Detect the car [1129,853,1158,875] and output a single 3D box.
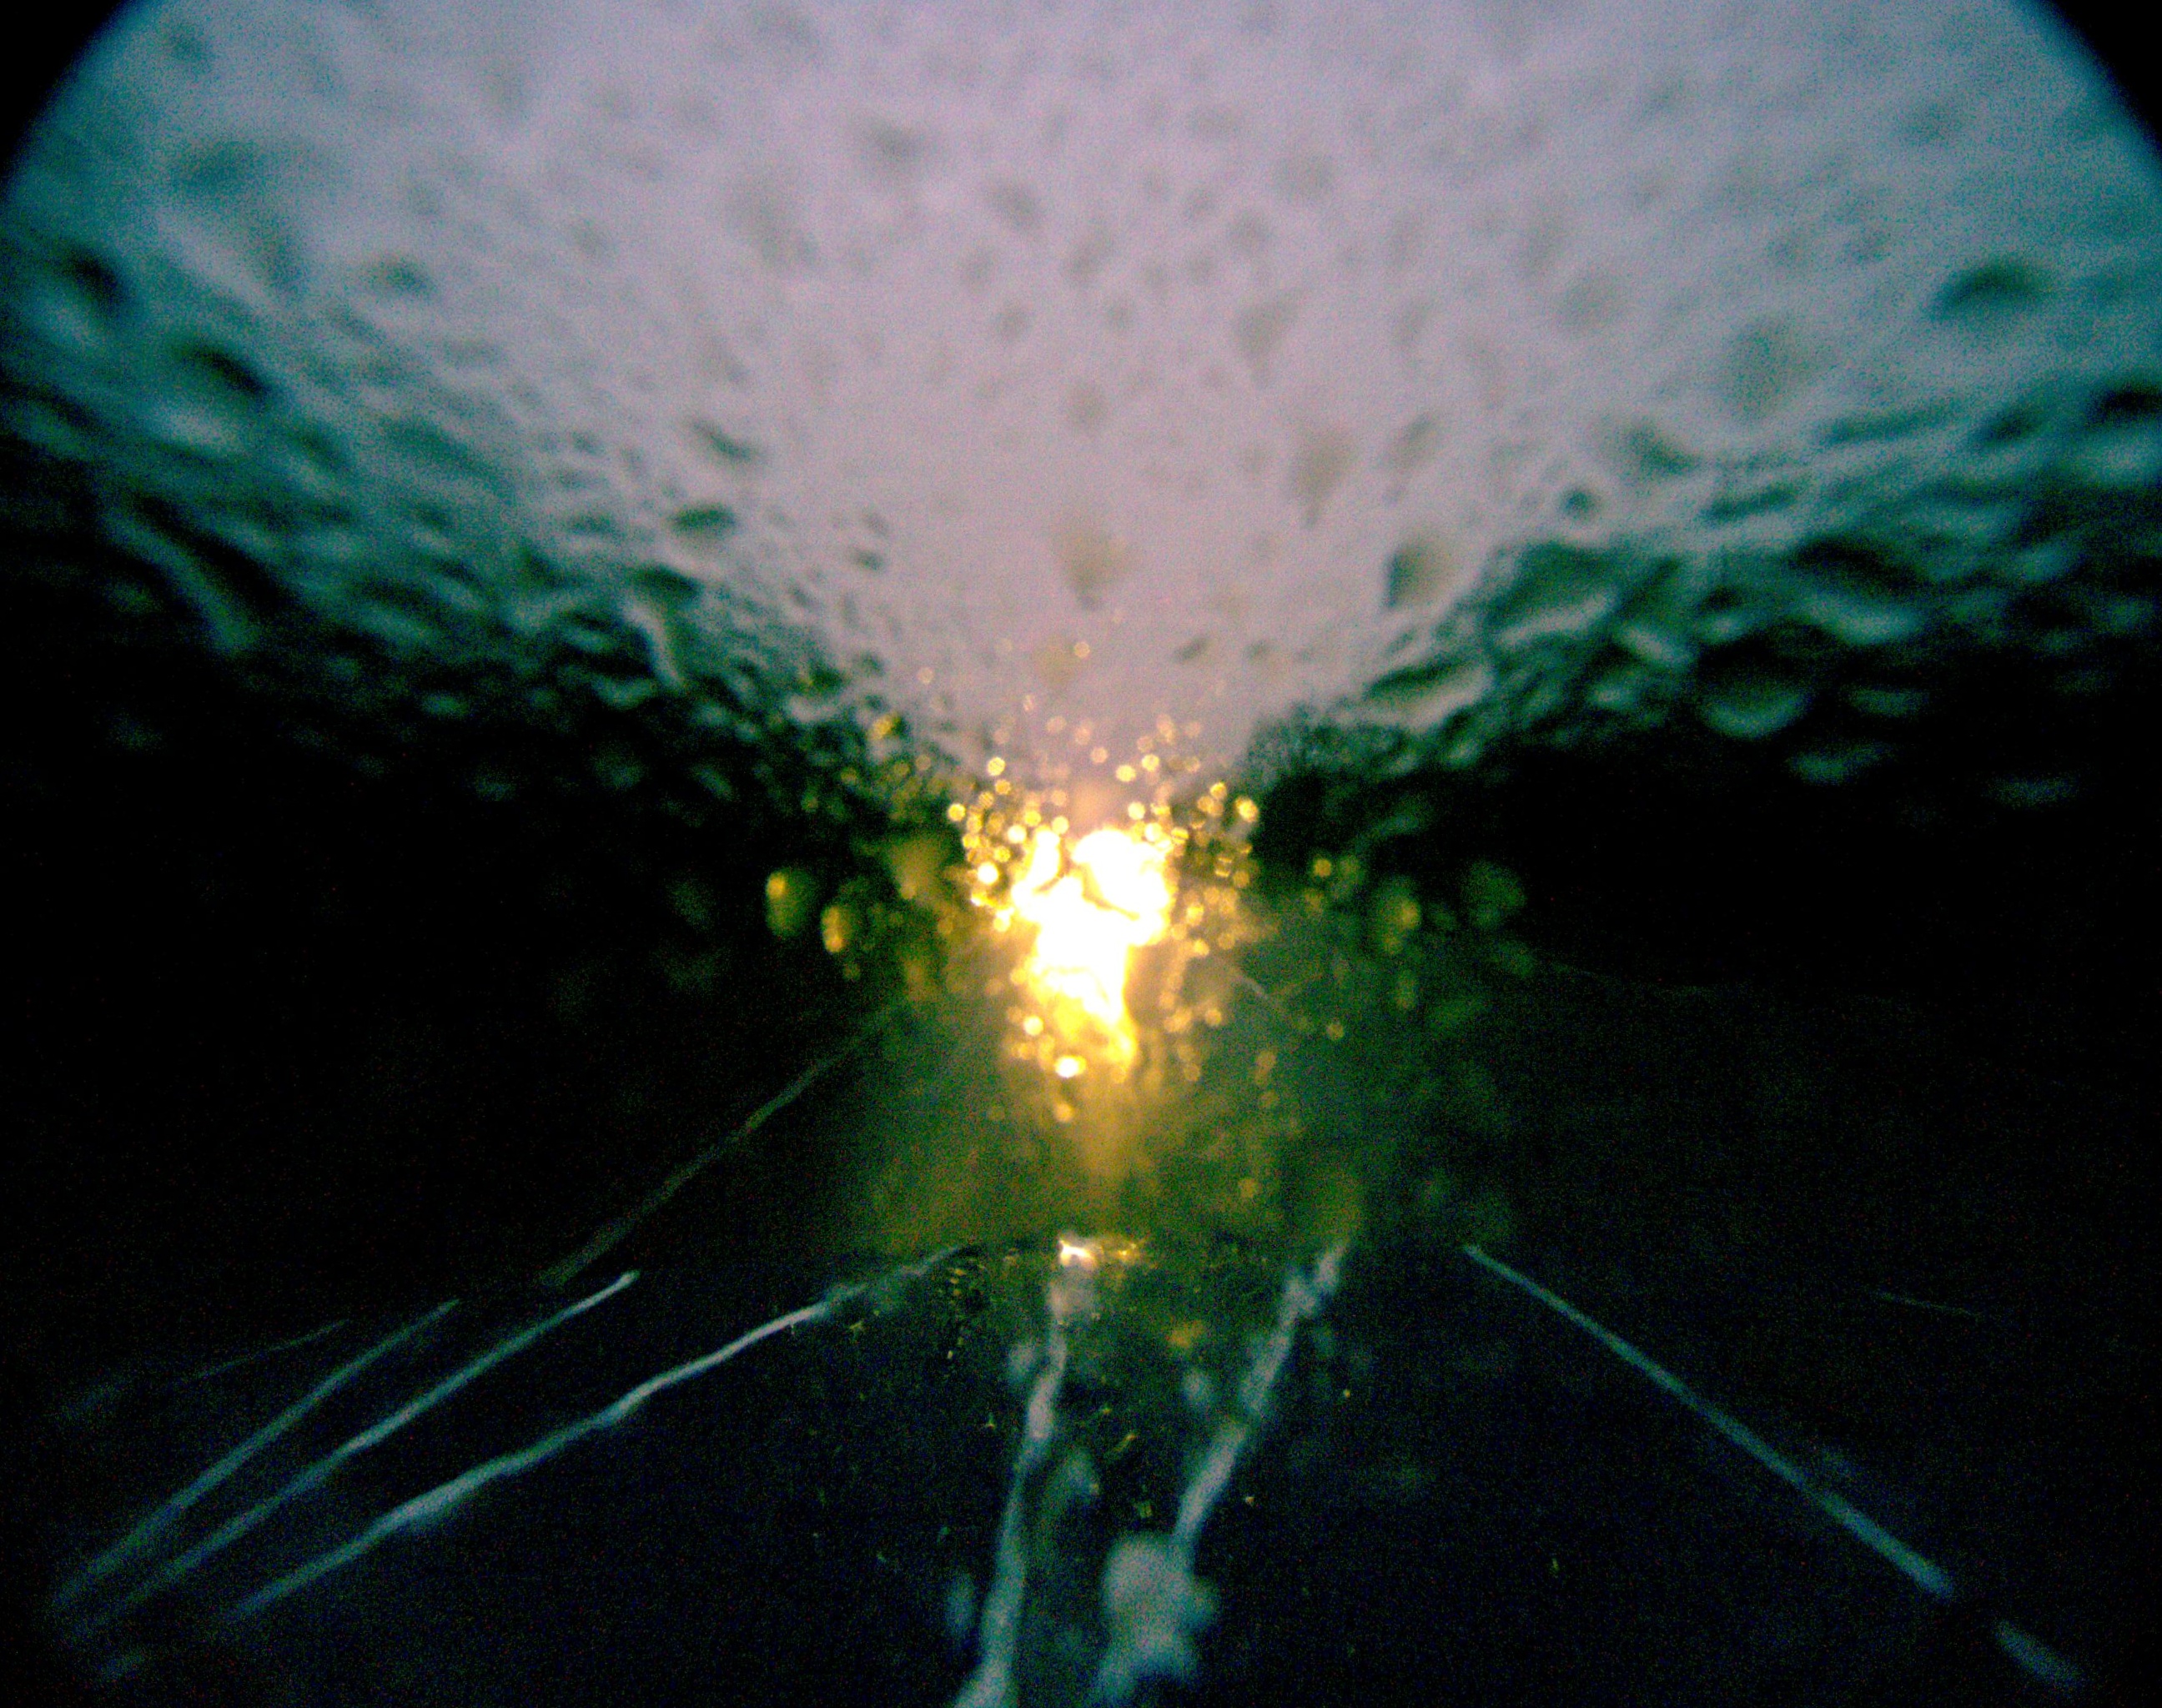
[{"bbox_3d":[4.653,0.689,57.148,1.702,1.487,5.664,-2,0,1],"label":"car"}]
